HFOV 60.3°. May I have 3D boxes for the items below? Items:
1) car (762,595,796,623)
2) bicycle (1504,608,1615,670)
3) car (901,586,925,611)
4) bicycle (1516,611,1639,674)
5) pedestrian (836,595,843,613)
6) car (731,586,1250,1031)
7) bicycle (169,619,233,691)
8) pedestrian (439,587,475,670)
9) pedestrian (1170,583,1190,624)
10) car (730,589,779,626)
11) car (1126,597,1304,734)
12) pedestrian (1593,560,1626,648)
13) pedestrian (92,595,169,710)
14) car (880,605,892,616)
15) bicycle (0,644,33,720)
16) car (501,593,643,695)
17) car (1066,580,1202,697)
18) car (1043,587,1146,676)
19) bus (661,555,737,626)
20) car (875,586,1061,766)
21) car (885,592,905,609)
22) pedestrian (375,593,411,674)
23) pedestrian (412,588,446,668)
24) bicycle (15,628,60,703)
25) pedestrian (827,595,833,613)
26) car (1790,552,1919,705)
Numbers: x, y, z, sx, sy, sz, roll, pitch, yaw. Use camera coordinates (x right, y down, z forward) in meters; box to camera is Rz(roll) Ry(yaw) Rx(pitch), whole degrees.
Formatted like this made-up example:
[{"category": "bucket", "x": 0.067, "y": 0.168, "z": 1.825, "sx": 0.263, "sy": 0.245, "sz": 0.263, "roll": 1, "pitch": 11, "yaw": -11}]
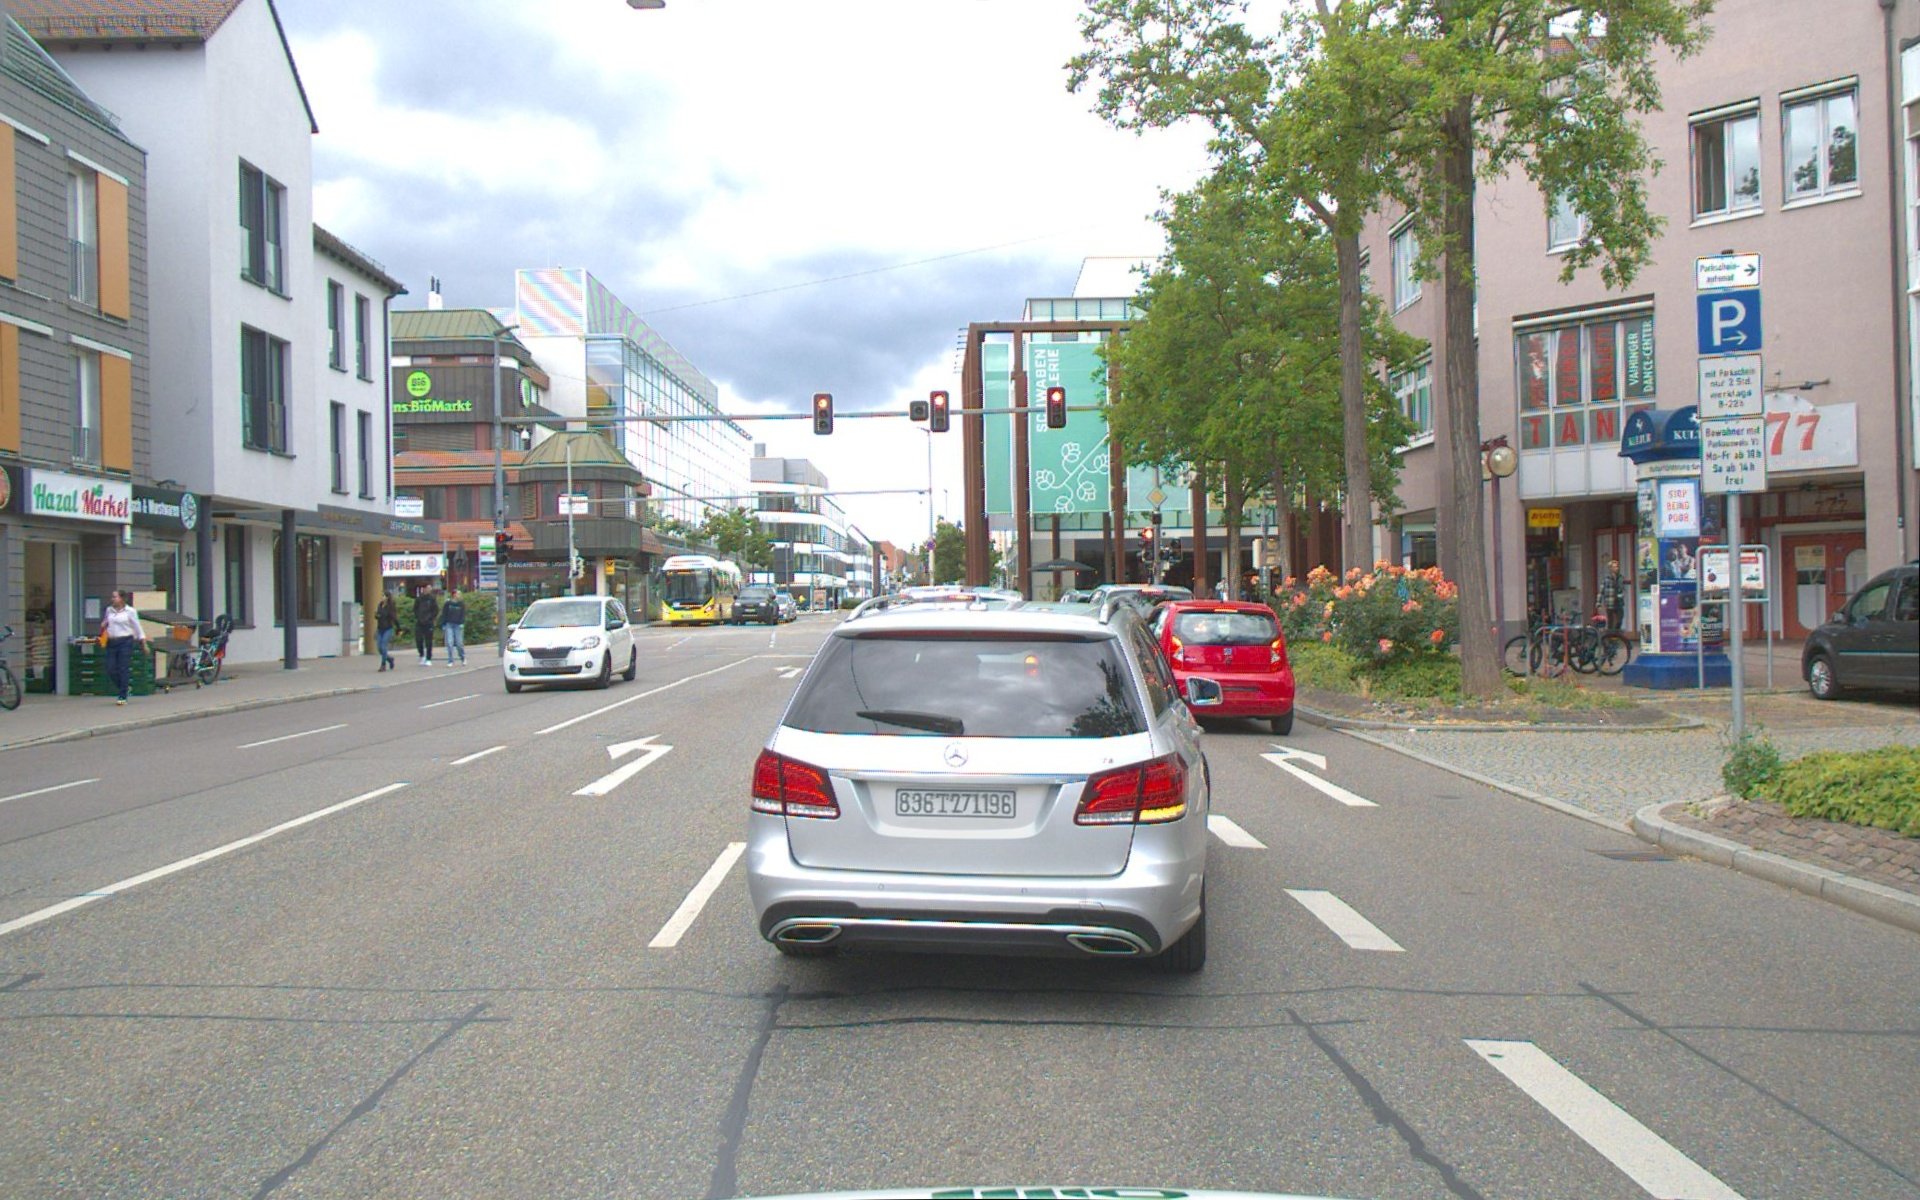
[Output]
[{"category": "car", "x": -9.550, "y": 0.470, "z": 87.612, "sx": 1.524, "sy": 1.417, "sz": 3.286, "roll": -1, "pitch": 0, "yaw": -2}, {"category": "bicycle", "x": 10.252, "y": 0.668, "z": 28.310, "sx": 1.731, "sy": 1.014, "sz": 0.447, "roll": -1, "pitch": 0, "yaw": 3}, {"category": "car", "x": -3.988, "y": -0.141, "z": 139.445, "sx": 1.953, "sy": 1.983, "sz": 4.949, "roll": -1, "pitch": 0, "yaw": -2}, {"category": "bicycle", "x": 10.356, "y": 0.707, "z": 27.757, "sx": 1.861, "sy": 1.014, "sz": 0.468, "roll": -1, "pitch": 0, "yaw": 3}, {"category": "pedestrian", "x": -11.903, "y": 0.370, "z": 163.788, "sx": 0.508, "sy": 1.764, "sz": 0.489, "roll": -1, "pitch": 0, "yaw": 16}, {"category": "car", "x": 0.365, "y": 0.709, "z": 7.869, "sx": 1.776, "sy": 1.474, "sz": 4.373, "roll": 1, "pitch": 0, "yaw": 7}, {"category": "bicycle", "x": -13.398, "y": 0.950, "z": 29.233, "sx": 0.378, "sy": 1.207, "sz": 1.824, "roll": -1, "pitch": 0, "yaw": -4}, {"category": "pedestrian", "x": -11.268, "y": 0.633, "z": 37.085, "sx": 0.670, "sy": 1.821, "sz": 0.647, "roll": -1, "pitch": 0, "yaw": -12}, {"category": "pedestrian", "x": 9.110, "y": 0.159, "z": 68.380, "sx": 0.641, "sy": 1.679, "sz": 0.557, "roll": -1, "pitch": 0, "yaw": -15}, {"category": "car", "x": -9.910, "y": 0.350, "z": 80.030, "sx": 1.953, "sy": 1.735, "sz": 4.063, "roll": -1, "pitch": 0, "yaw": -2}, {"category": "car", "x": 2.951, "y": 0.710, "z": 19.716, "sx": 1.554, "sy": 1.468, "sz": 3.348, "roll": 1, "pitch": 0, "yaw": -1}, {"category": "pedestrian", "x": 13.928, "y": 0.082, "z": 35.482, "sx": 0.637, "sy": 1.866, "sz": 0.610, "roll": -1, "pitch": 0, "yaw": 21}, {"category": "pedestrian", "x": -12.070, "y": 0.753, "z": 24.079, "sx": 0.713, "sy": 1.638, "sz": 0.753, "roll": -1, "pitch": 0, "yaw": -1}, {"category": "car", "x": -11.072, "y": 1.527, "z": 247.573, "sx": 1.764, "sy": 1.567, "sz": 4.063, "roll": -1, "pitch": 0, "yaw": -2}, {"category": "bicycle", "x": -12.987, "y": 1.108, "z": 22.384, "sx": 0.320, "sy": 0.970, "sz": 1.479, "roll": -1, "pitch": 0, "yaw": -11}, {"category": "car", "x": -6.306, "y": 0.674, "z": 27.177, "sx": 1.542, "sy": 1.514, "sz": 3.463, "roll": -2, "pitch": 0, "yaw": -1}, {"category": "car", "x": 2.639, "y": 0.541, "z": 25.800, "sx": 1.555, "sy": 1.662, "sz": 3.915, "roll": 1, "pitch": 0, "yaw": -2}, {"category": "car", "x": 2.604, "y": 0.574, "z": 32.653, "sx": 1.555, "sy": 1.623, "sz": 3.866, "roll": 1, "pitch": 0, "yaw": -2}, {"category": "bus", "x": -12.969, "y": -0.489, "z": 82.725, "sx": 2.632, "sy": 3.318, "sz": 8.650, "roll": -1, "pitch": 0, "yaw": -2}, {"category": "car", "x": 0.045, "y": 0.652, "z": 16.026, "sx": 1.606, "sy": 1.554, "sz": 3.393, "roll": 0, "pitch": 0, "yaw": -1}, {"category": "car", "x": -6.494, "y": 0.038, "z": 165.055, "sx": 1.763, "sy": 1.567, "sz": 4.065, "roll": -1, "pitch": 0, "yaw": 1}, {"category": "pedestrian", "x": -12.098, "y": 0.707, "z": 35.298, "sx": 0.640, "sy": 1.679, "sz": 0.557, "roll": -1, "pitch": 0, "yaw": -13}, {"category": "pedestrian", "x": -12.075, "y": 0.629, "z": 37.615, "sx": 0.557, "sy": 1.806, "sz": 0.646, "roll": -1, "pitch": 0, "yaw": -5}, {"category": "bicycle", "x": -14.820, "y": 1.042, "z": 26.577, "sx": 0.380, "sy": 1.147, "sz": 1.283, "roll": -1, "pitch": 0, "yaw": -19}, {"category": "pedestrian", "x": -12.873, "y": 0.362, "z": 163.543, "sx": 0.508, "sy": 1.764, "sz": 0.489, "roll": -1, "pitch": 0, "yaw": 8}, {"category": "car", "x": 12.441, "y": 0.317, "z": 20.914, "sx": 1.605, "sy": 1.863, "sz": 3.963, "roll": -2, "pitch": 1, "yaw": -5}]
